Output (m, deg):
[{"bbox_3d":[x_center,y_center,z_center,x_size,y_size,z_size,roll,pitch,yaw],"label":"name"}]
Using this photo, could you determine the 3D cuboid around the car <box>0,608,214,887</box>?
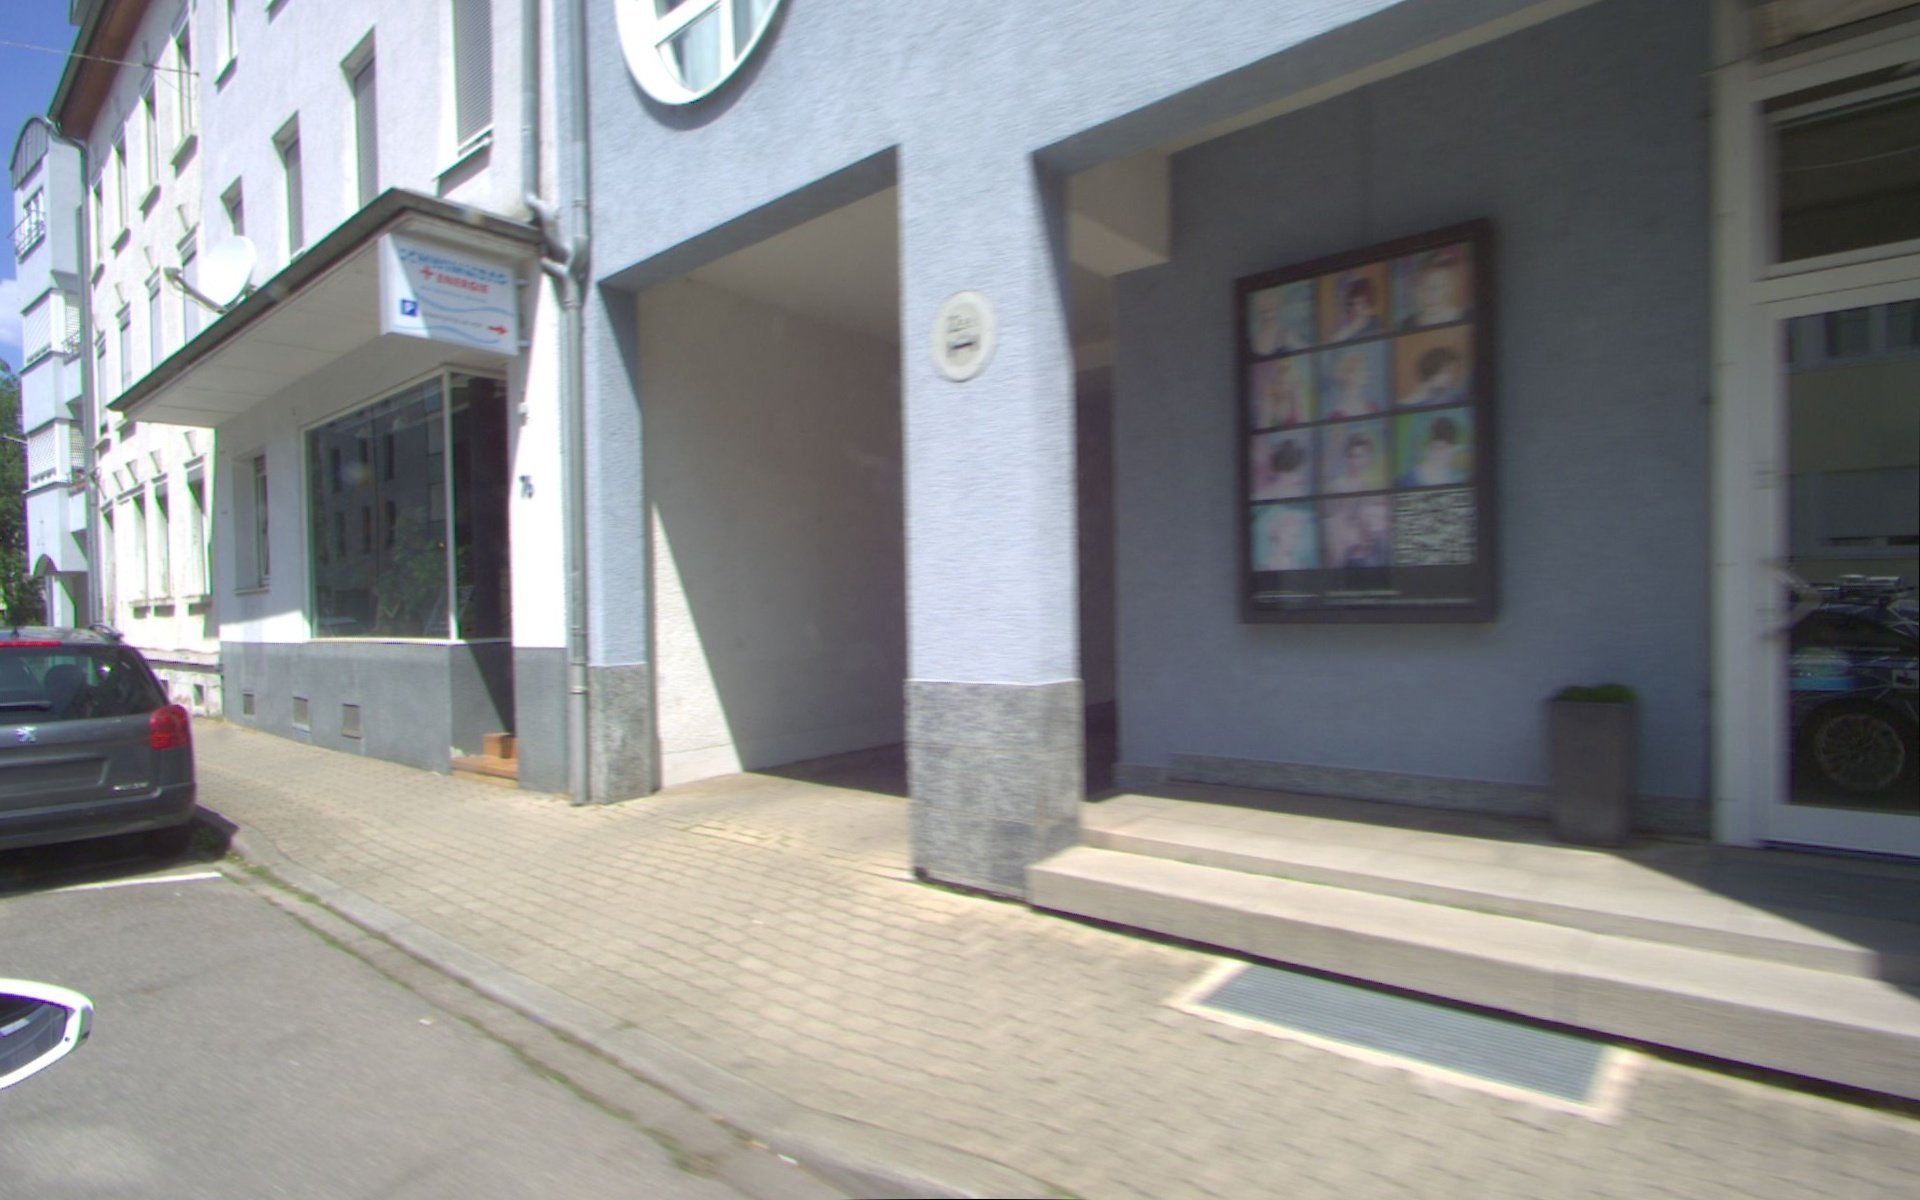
[{"bbox_3d":[-6.694,0.861,6.902,3.955,1.527,1.701,-2,-1,41],"label":"car"}]

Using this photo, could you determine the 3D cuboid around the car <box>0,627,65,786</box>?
[{"bbox_3d":[-10.710,1.036,10.322,4.494,1.438,1.720,-2,-1,42],"label":"car"}]
